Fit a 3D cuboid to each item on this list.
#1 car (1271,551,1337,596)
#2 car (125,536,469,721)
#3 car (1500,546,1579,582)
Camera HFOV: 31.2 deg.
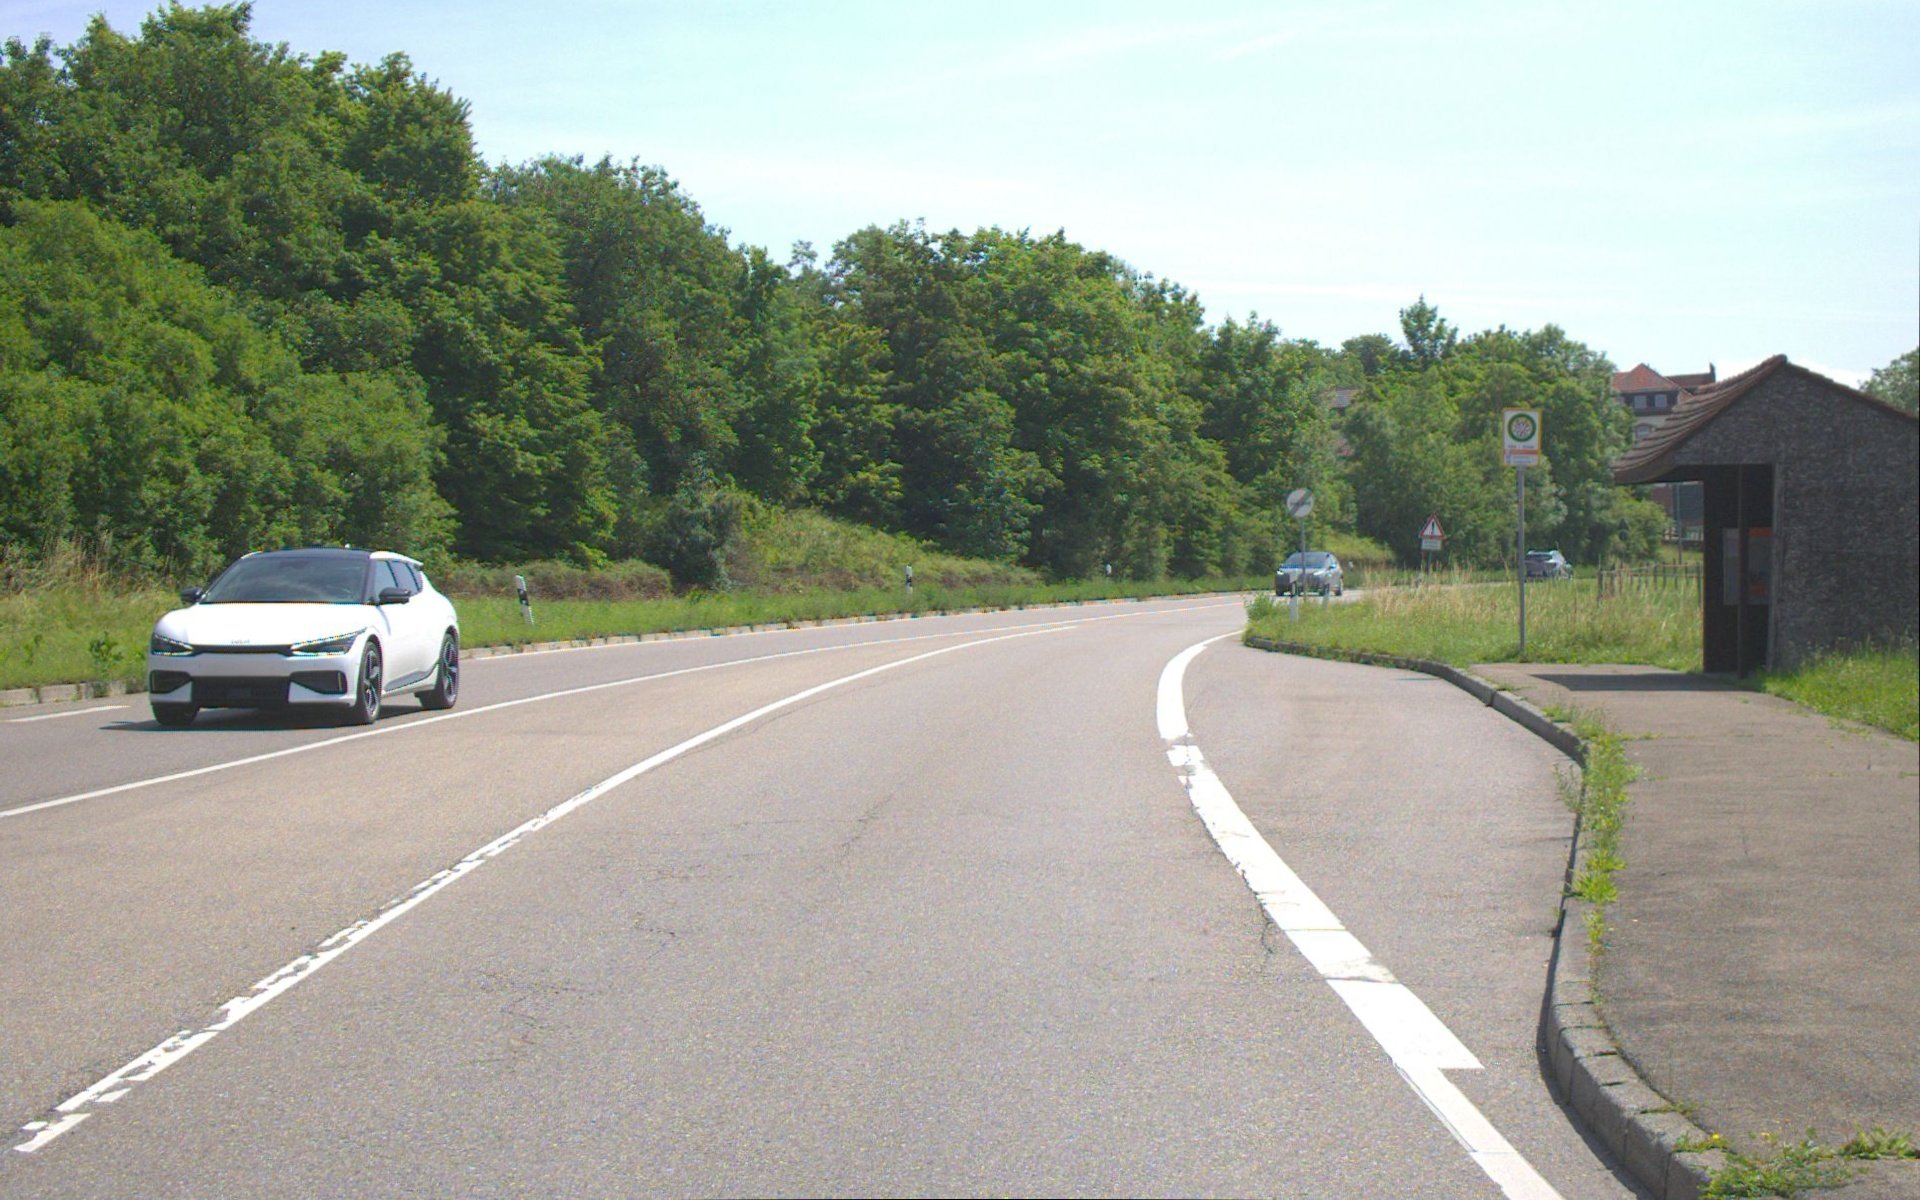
[{"bbox_3d":[12.109,-0.929,120.830,1.755,1.529,4.226,0,1,13],"label":"car"},{"bbox_3d":[-5.927,0.219,31.321,1.937,1.543,4.627,1,1,4],"label":"car"},{"bbox_3d":[25.198,-1.560,149.353,1.997,1.568,3.993,1,1,33],"label":"car"}]
